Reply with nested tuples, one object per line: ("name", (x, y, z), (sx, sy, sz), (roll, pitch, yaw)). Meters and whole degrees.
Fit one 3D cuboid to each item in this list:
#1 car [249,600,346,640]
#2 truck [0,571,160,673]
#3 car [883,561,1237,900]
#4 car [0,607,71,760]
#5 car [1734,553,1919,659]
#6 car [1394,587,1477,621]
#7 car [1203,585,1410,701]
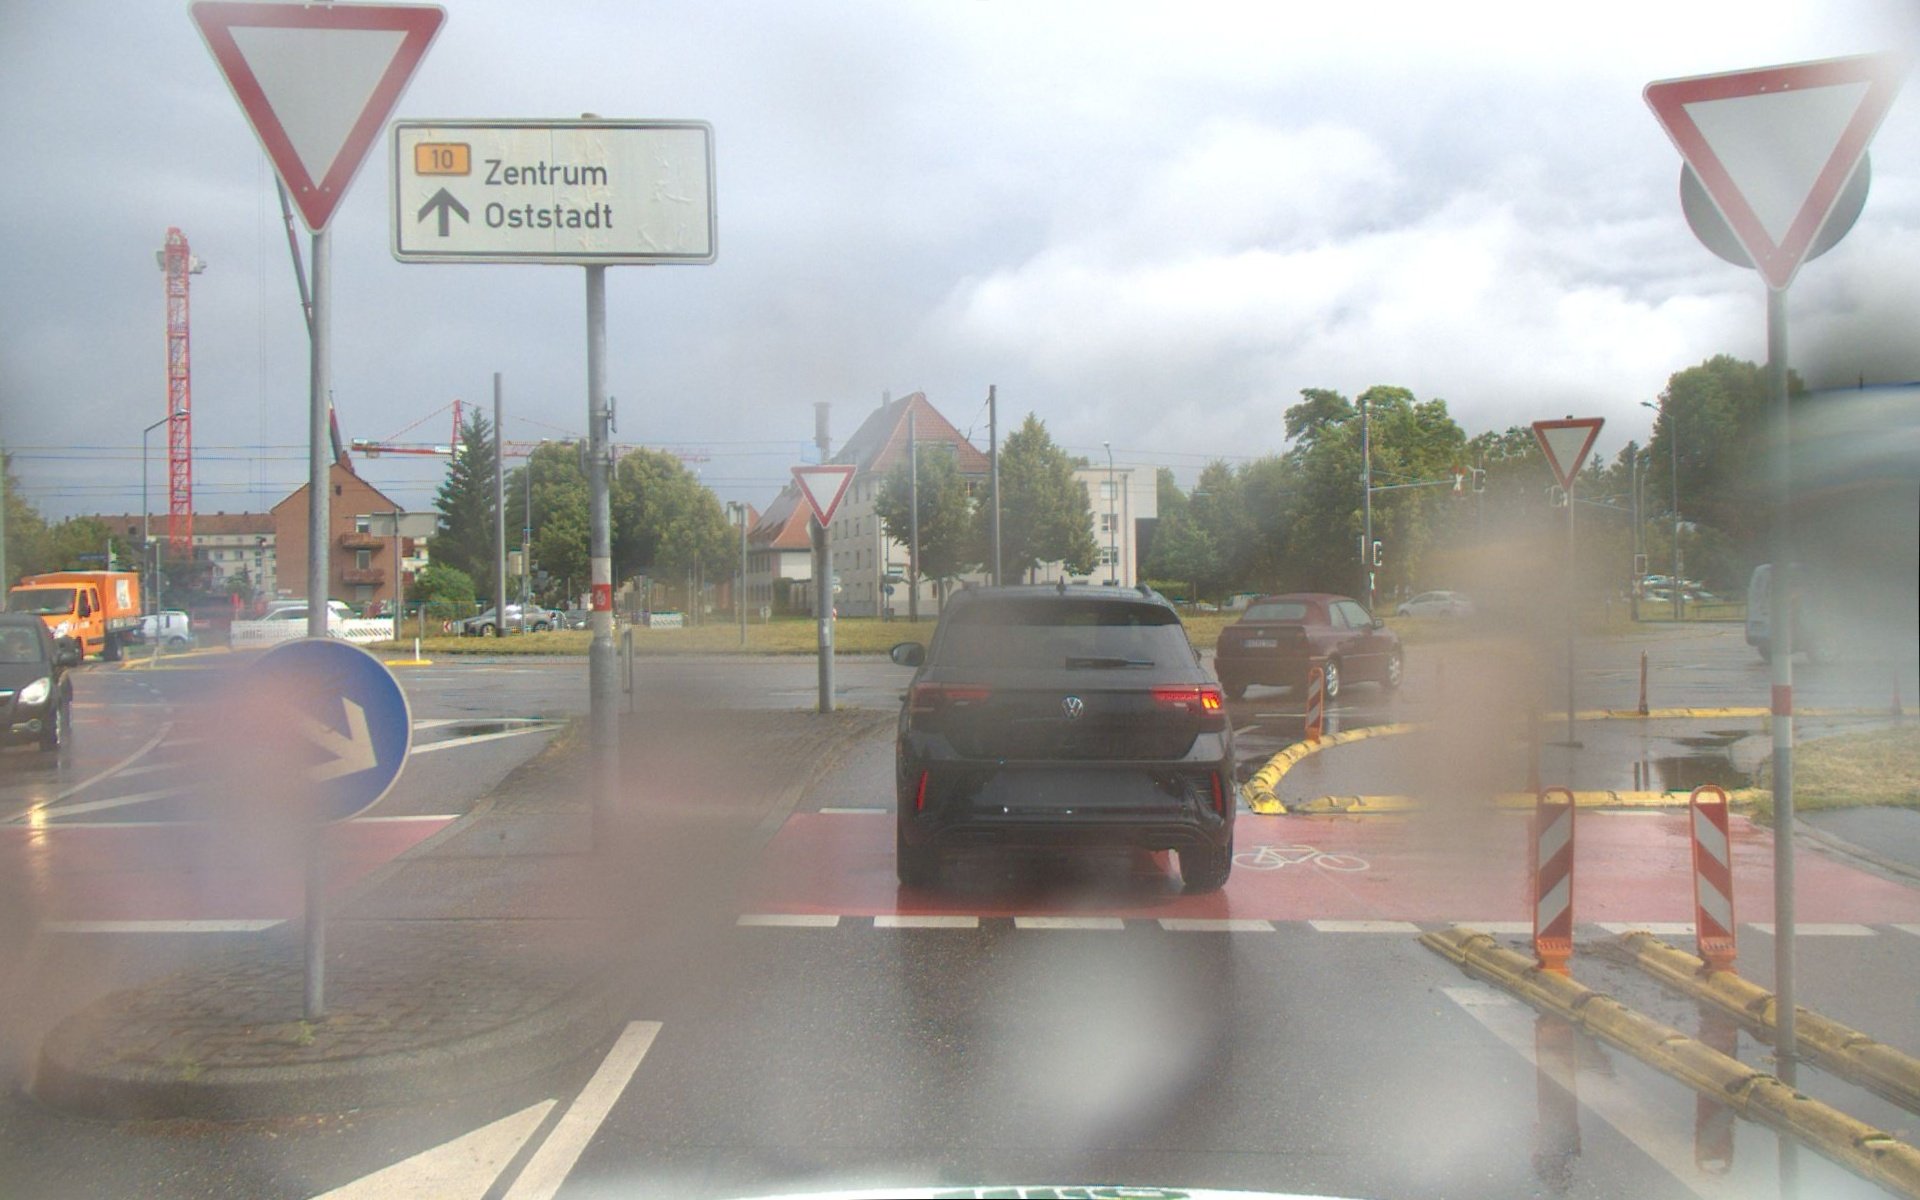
("car", (-27.901, 0.842, 69.694), (3.473, 1.612, 1.545), (-1, 0, -40))
("truck", (-25.379, 0.580, 47.609), (2.279, 2.696, 7.074), (-1, 0, -9))
("car", (0.394, 0.626, 9.726), (1.674, 1.601, 3.680), (0, 0, -3))
("car", (-11.590, 0.938, 19.743), (1.549, 1.677, 3.615), (-1, 0, -31))
("car", (16.724, 0.091, 30.239), (4.304, 1.841, 1.868), (-1, 0, -5))
("car", (22.313, 0.183, 77.676), (1.711, 1.575, 3.551), (-1, 0, -31))
("car", (5.088, 0.567, 24.000), (1.705, 1.540, 3.592), (-1, 0, 34))
